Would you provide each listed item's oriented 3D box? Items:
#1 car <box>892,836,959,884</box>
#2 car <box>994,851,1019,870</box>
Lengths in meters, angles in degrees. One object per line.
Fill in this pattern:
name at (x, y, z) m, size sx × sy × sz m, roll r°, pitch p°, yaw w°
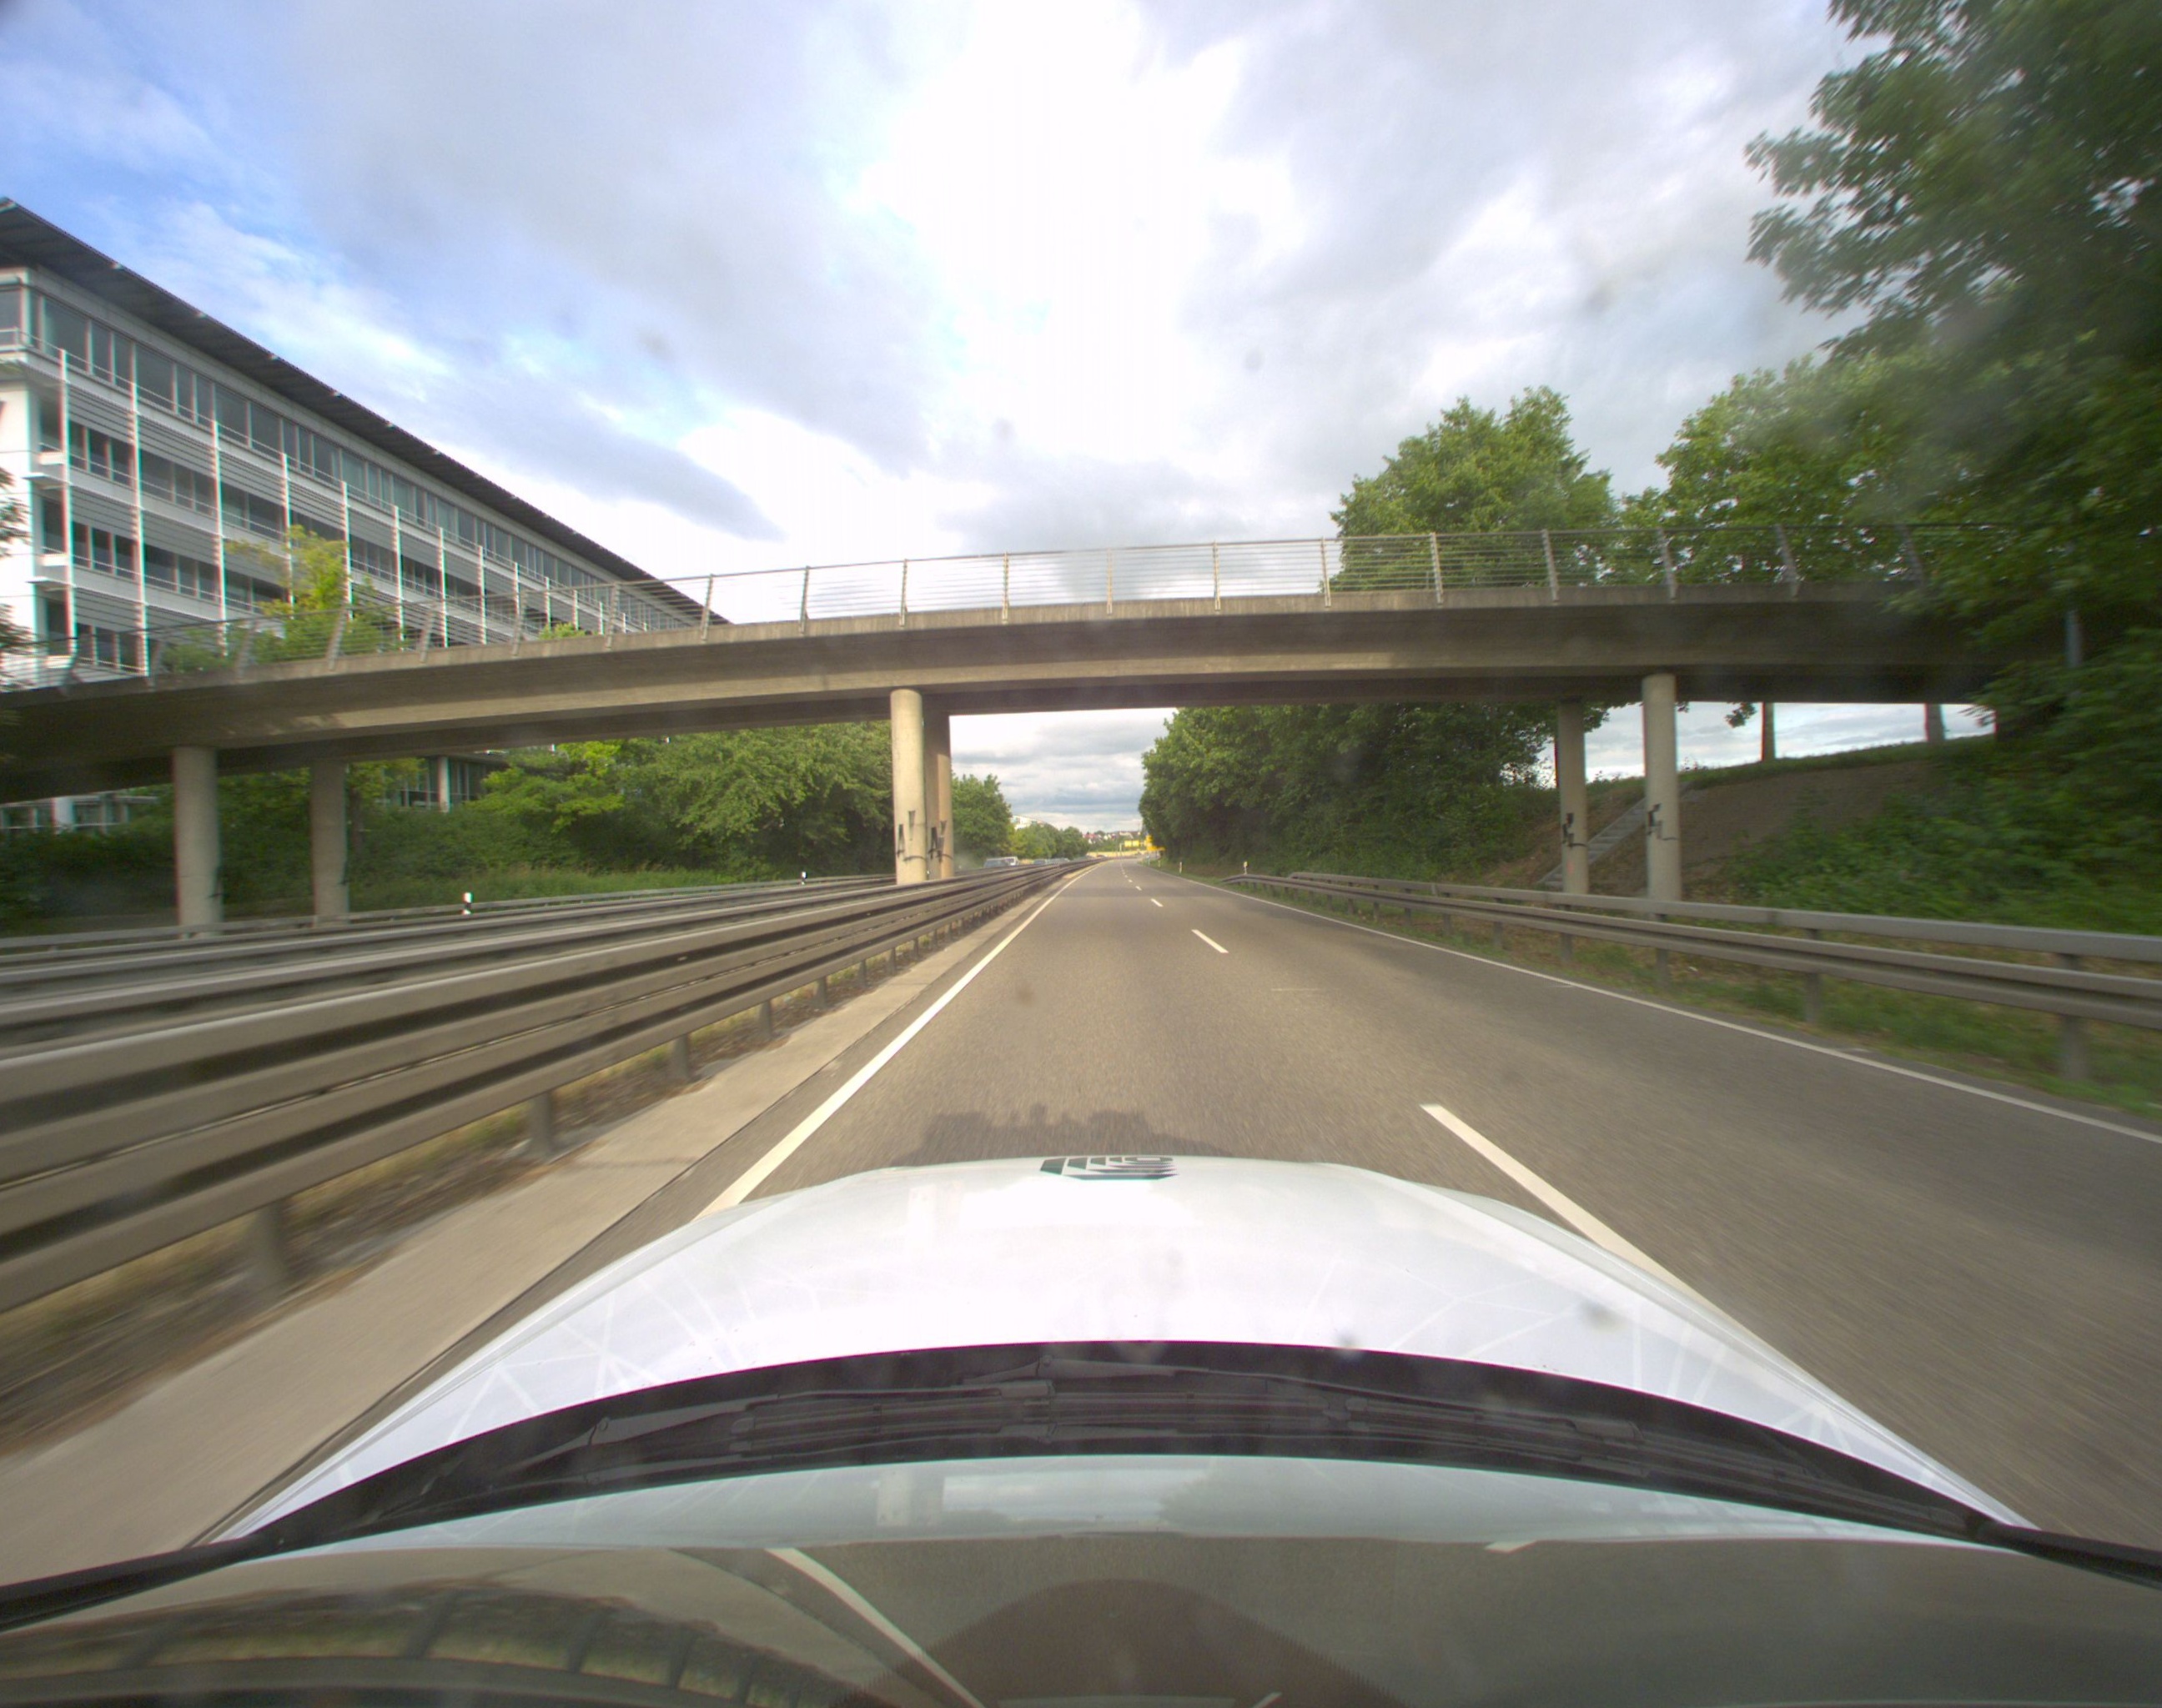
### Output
car at (-8.966, 0.321, 47.620) m, size 2.241 × 2.537 × 6.944 m, roll -1°, pitch 0°, yaw 2°
car at (-7.658, 0.654, 84.512) m, size 1.860 × 1.855 × 4.626 m, roll -1°, pitch 0°, yaw 3°
